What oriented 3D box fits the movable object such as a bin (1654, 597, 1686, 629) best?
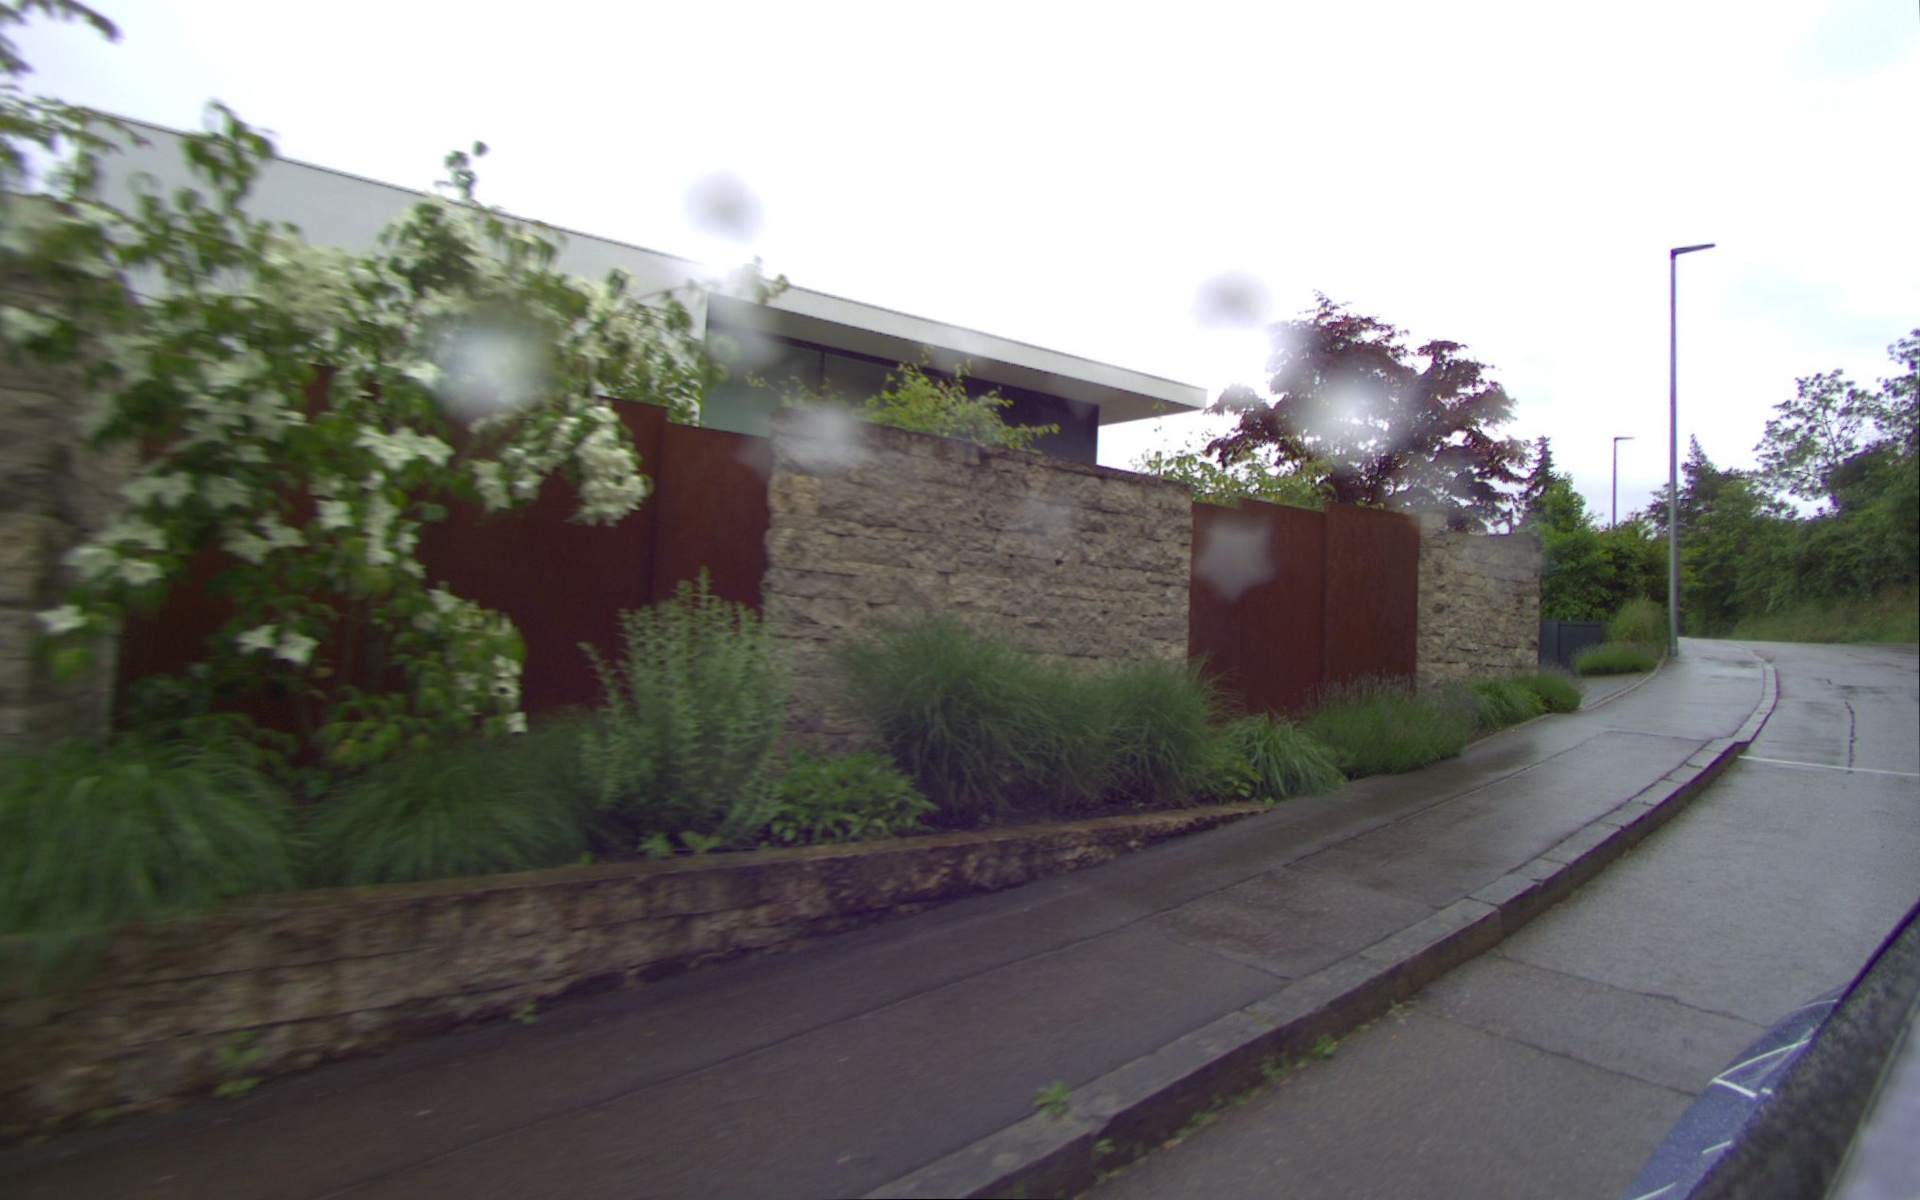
[{"bbox_3d":[26.152,0.483,37.298,0.785,1.109,0.669,5,1,28],"label":"movable object such as a bin"}]
